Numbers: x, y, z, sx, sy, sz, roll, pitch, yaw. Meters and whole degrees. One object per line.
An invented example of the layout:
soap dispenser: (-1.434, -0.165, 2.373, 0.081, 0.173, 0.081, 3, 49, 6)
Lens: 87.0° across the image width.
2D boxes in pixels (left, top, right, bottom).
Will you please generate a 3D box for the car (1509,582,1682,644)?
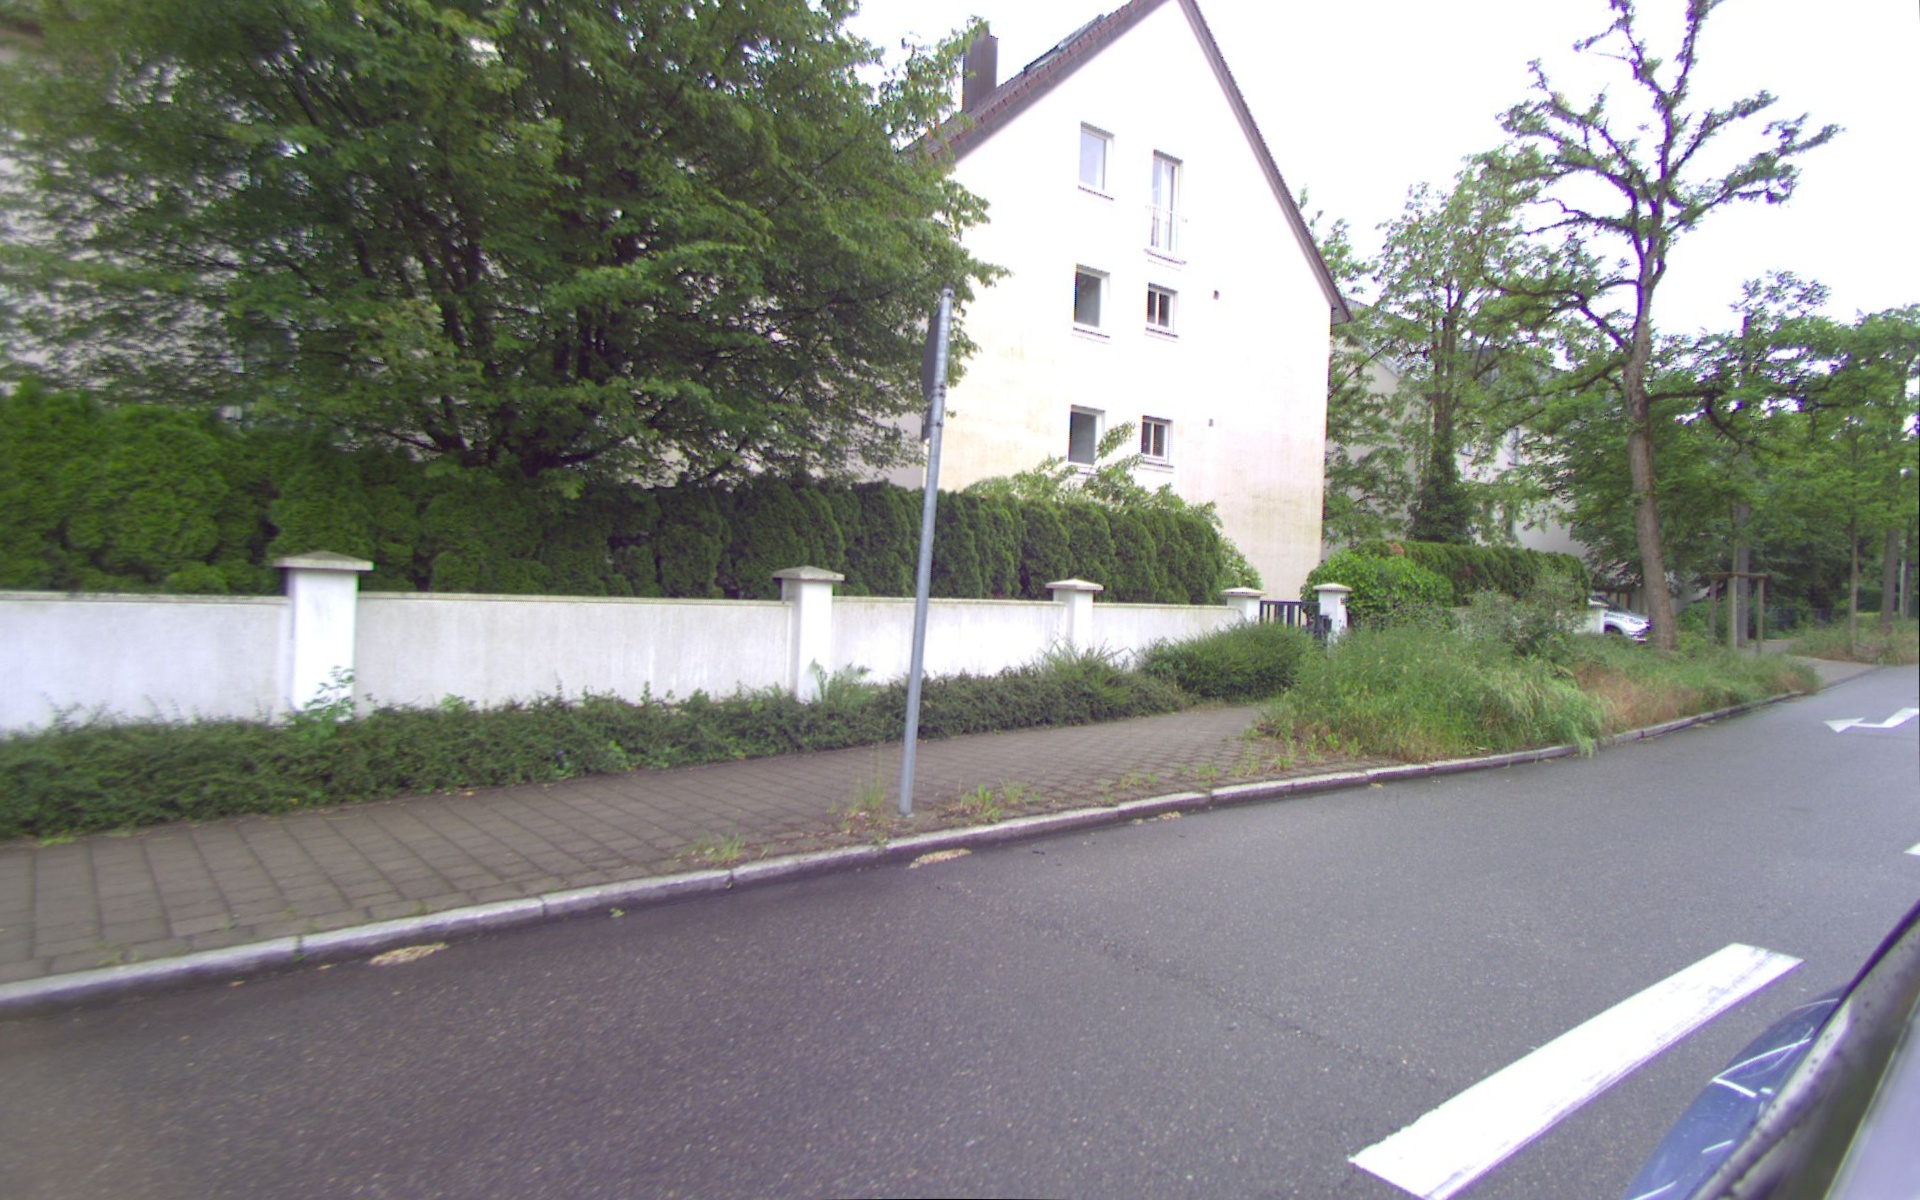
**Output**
car: (20.166, 0.369, 32.301, 1.837, 1.840, 4.322, 1, 0, -31)
